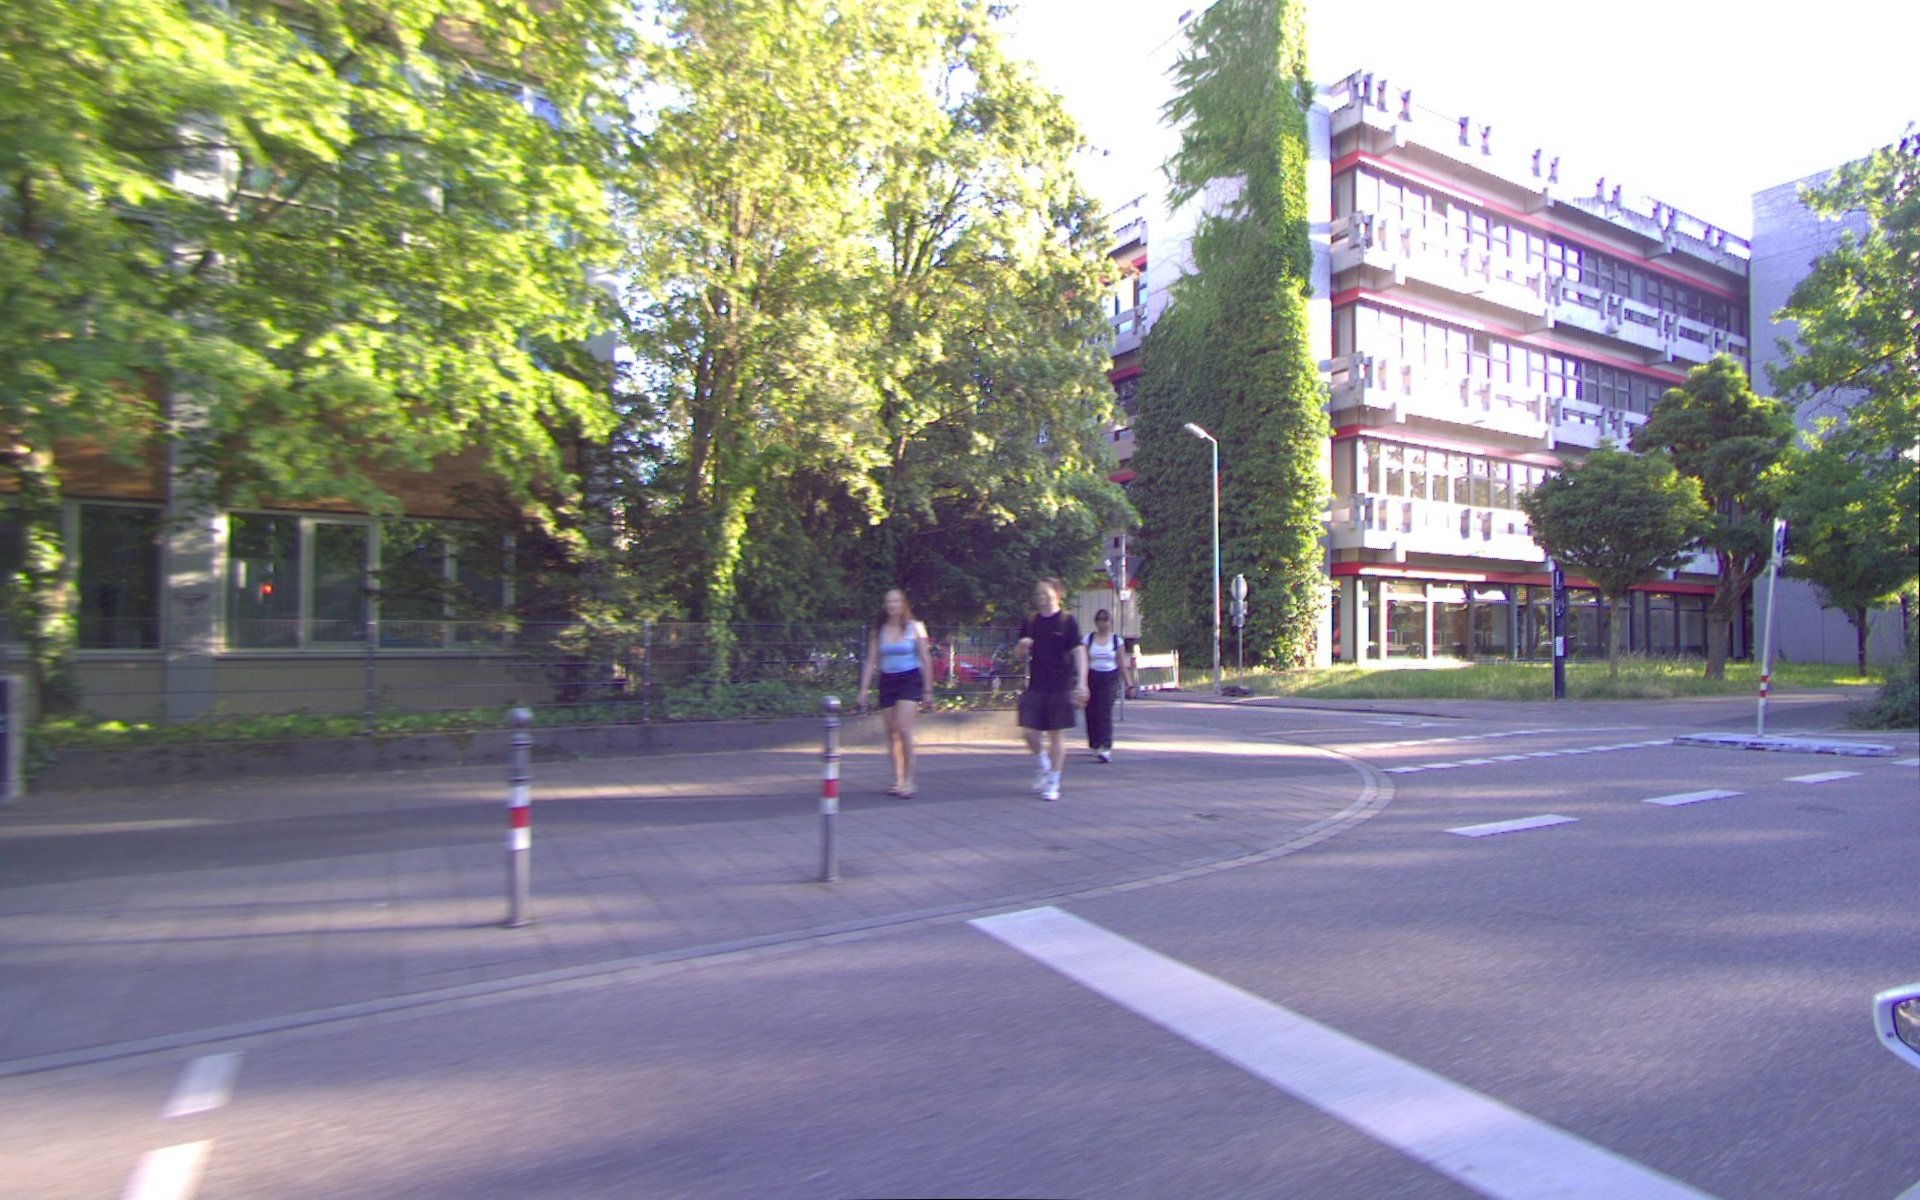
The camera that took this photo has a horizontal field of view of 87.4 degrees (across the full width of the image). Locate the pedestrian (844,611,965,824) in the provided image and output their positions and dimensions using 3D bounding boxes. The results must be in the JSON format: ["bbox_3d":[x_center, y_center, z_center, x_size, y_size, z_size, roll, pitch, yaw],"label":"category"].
[{"bbox_3d":[-0.465,0.946,8.449,0.704,1.684,0.705,-2,-2,36],"label":"pedestrian"}]

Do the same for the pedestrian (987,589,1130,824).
[{"bbox_3d":[0.848,0.861,8.538,0.809,1.847,0.954,-2,-2,36],"label":"pedestrian"}]

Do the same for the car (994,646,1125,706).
[{"bbox_3d":[2.592,1.991,26.543,1.671,1.476,3.239,3,-4,-39],"label":"car"}]

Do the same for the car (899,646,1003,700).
[{"bbox_3d":[-0.301,2.122,29.506,1.363,1.476,3.240,3,-4,-39],"label":"car"}]

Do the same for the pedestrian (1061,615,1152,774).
[{"bbox_3d":[1.633,1.021,11.185,0.704,1.684,0.764,-2,-2,36],"label":"pedestrian"}]
